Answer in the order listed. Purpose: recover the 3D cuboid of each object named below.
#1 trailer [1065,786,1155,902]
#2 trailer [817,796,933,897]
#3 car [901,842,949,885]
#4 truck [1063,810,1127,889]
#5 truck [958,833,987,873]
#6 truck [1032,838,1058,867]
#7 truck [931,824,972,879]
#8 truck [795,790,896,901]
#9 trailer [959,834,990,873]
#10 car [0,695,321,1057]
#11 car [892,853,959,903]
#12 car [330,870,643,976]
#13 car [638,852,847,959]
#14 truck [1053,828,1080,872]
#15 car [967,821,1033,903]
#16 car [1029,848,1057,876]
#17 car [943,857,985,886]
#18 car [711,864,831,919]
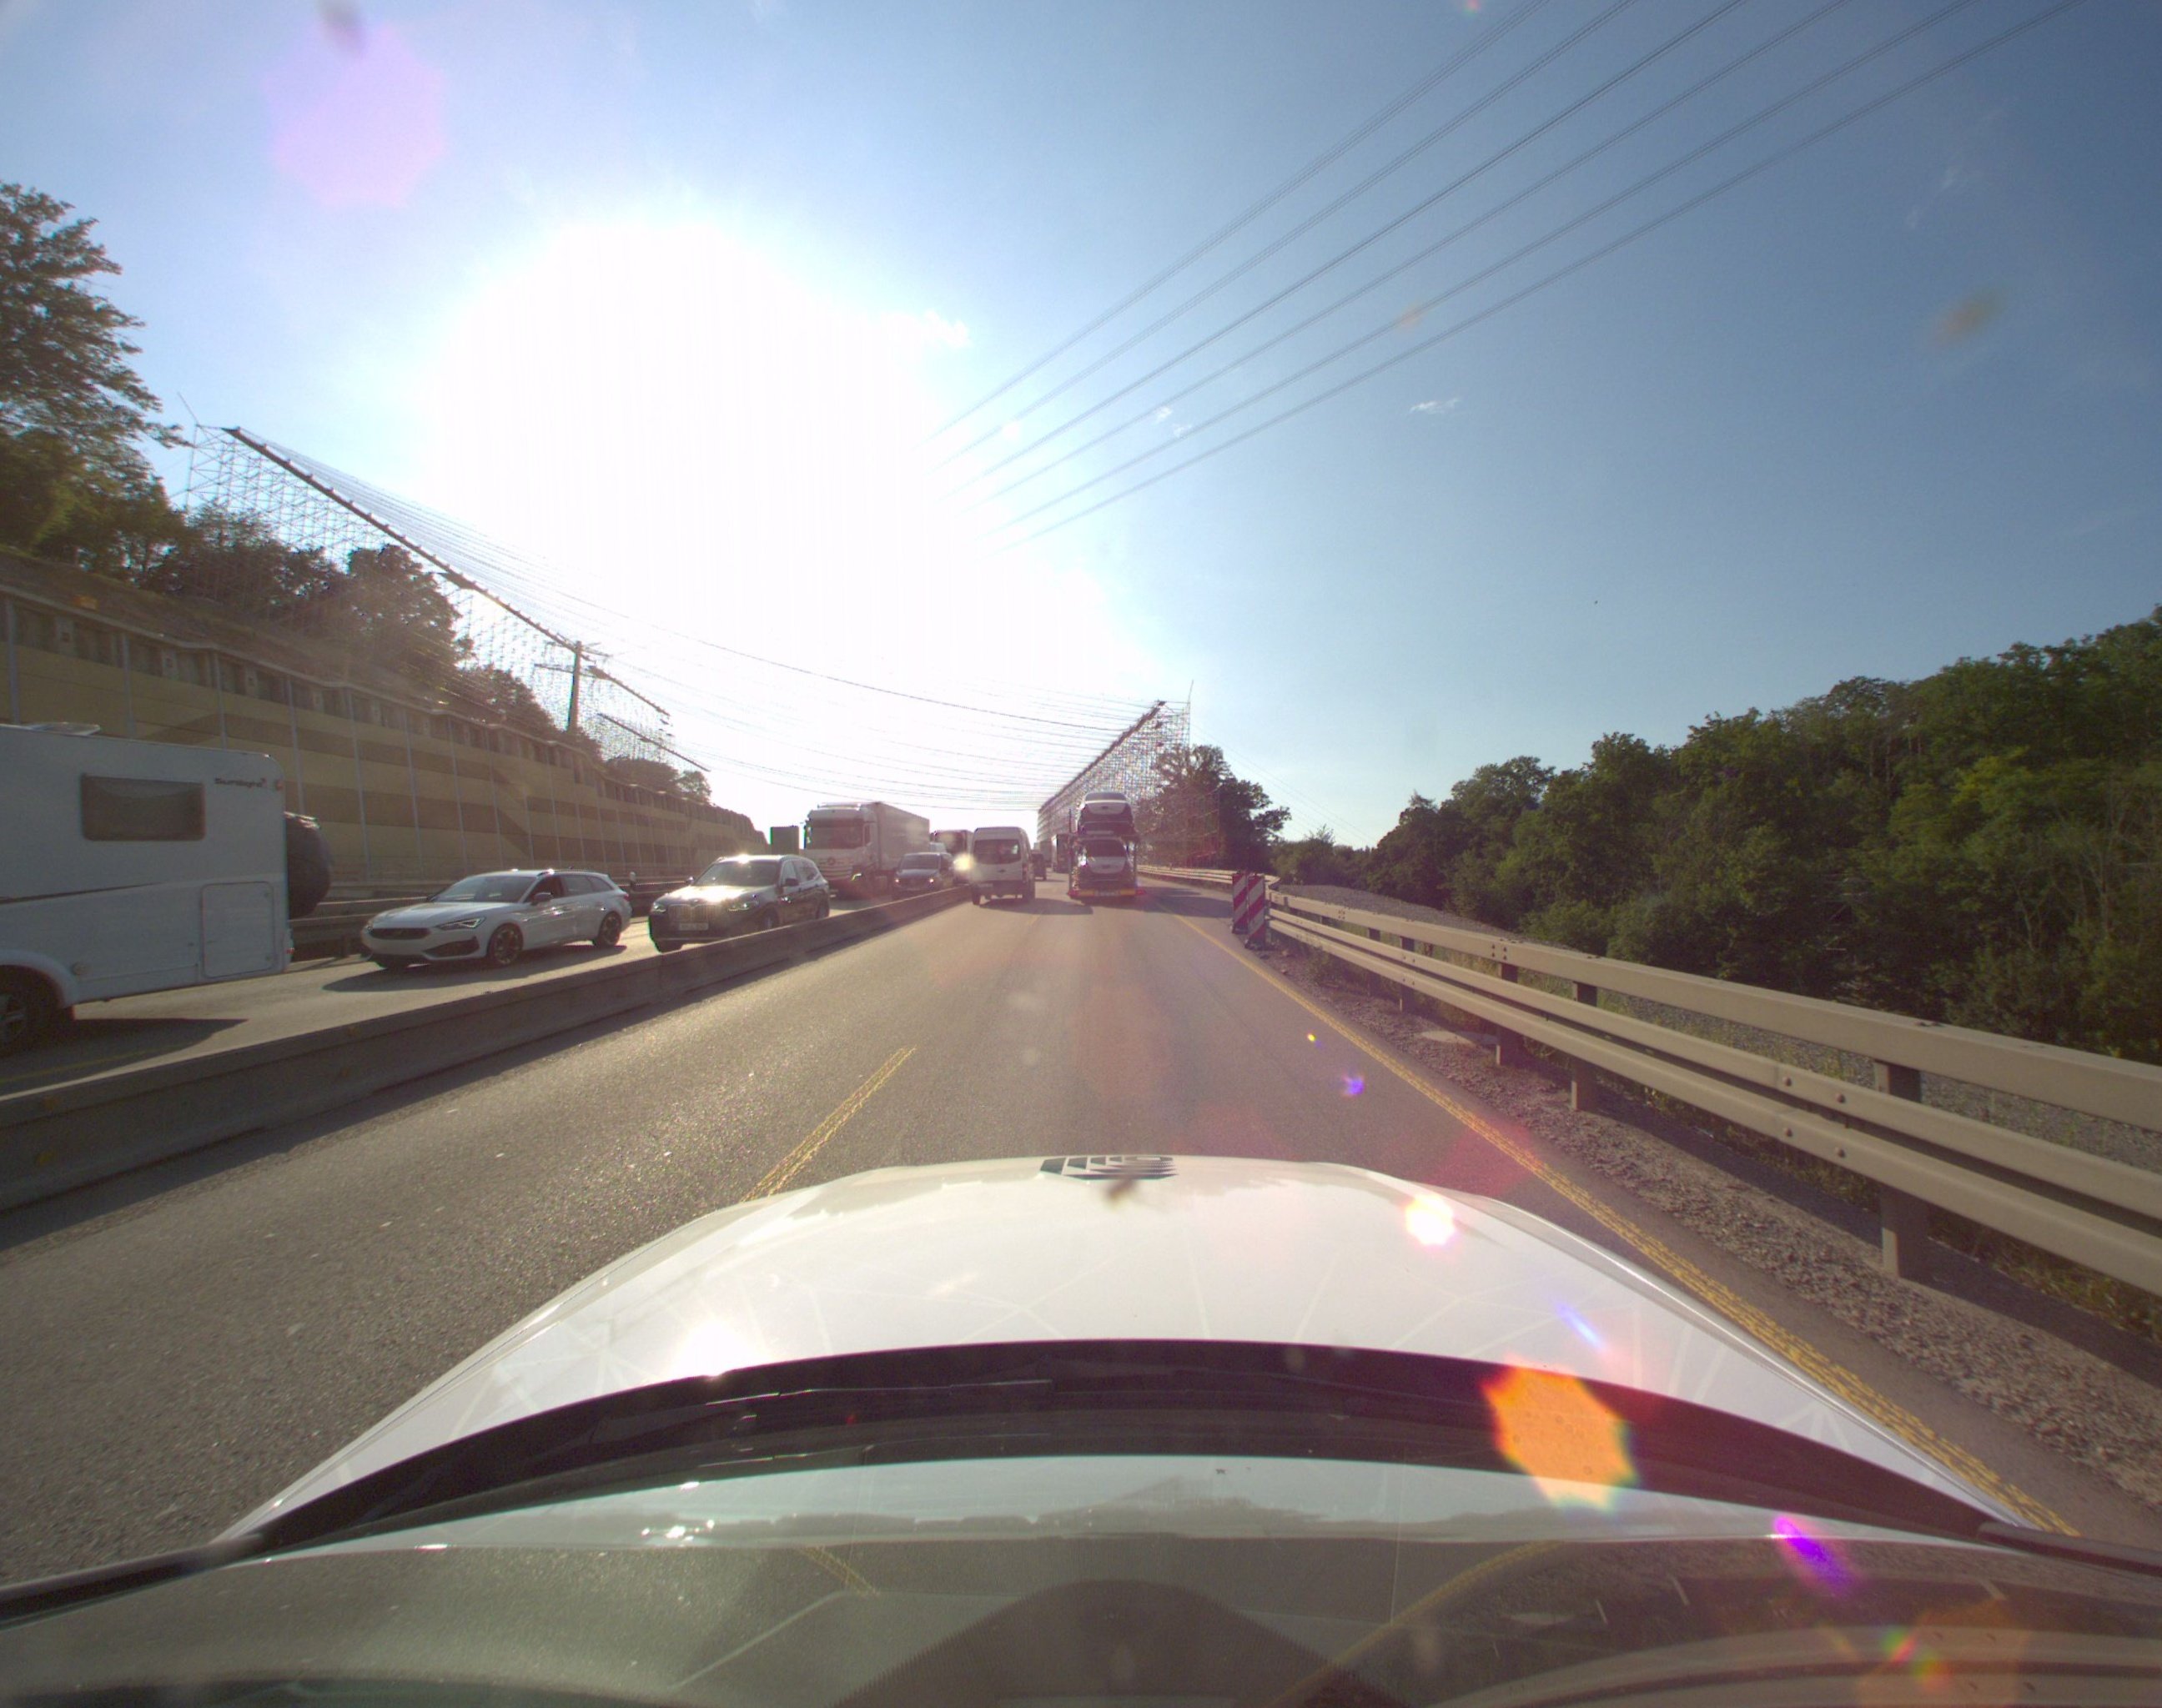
[{"bbox_3d":[0.798,-0.271,33.889,2.861,3.725,14.938,-1,-1,-1],"label":"trailer"},{"bbox_3d":[-9.949,-0.249,41.269,2.714,4.218,13.737,-1,-1,-2],"label":"trailer"},{"bbox_3d":[-10.332,0.545,54.334,2.016,2.690,6.945,0,1,-1],"label":"car"},{"bbox_3d":[0.596,-0.179,42.104,2.874,3.702,7.319,-1,-1,-2],"label":"truck"},{"bbox_3d":[-11.768,-0.044,88.534,2.782,4.141,5.923,-1,-1,-5],"label":"truck"},{"bbox_3d":[-5.753,-0.240,131.166,3.678,4.220,13.655,-4,0,-3],"label":"truck"},{"bbox_3d":[-10.591,-0.163,66.946,2.739,4.300,5.926,-1,-1,-4],"label":"truck"},{"bbox_3d":[-9.736,-0.310,34.313,2.706,4.218,5.678,-1,-1,-2],"label":"truck"},{"bbox_3d":[-12.254,0.007,94.888,2.794,4.141,13.943,-1,-1,-4],"label":"trailer"},{"bbox_3d":[-9.924,0.188,5.466,2.326,2.918,7.634,-2,-1,1],"label":"car"},{"bbox_3d":[-6.254,0.902,33.421,1.799,1.772,5.450,-1,1,-1],"label":"car"},{"bbox_3d":[-9.405,0.989,13.499,1.743,1.422,4.610,0,-1,1],"label":"car"},{"bbox_3d":[-6.118,0.828,15.449,1.811,1.579,4.756,-3,1,1],"label":"car"},{"bbox_3d":[-1.470,-0.398,88.254,2.723,4.385,11.518,0,0,0],"label":"truck"},{"bbox_3d":[-2.774,0.287,28.796,1.951,2.621,3.998,-2,-1,-1],"label":"car"},{"bbox_3d":[-2.750,0.578,59.468,1.989,2.014,3.996,0,-1,-3],"label":"car"},{"bbox_3d":[-6.864,0.989,48.156,1.882,1.568,4.454,0,0,0],"label":"car"},{"bbox_3d":[-9.063,1.034,24.261,1.737,1.460,4.713,-1,-1,0],"label":"car"}]
